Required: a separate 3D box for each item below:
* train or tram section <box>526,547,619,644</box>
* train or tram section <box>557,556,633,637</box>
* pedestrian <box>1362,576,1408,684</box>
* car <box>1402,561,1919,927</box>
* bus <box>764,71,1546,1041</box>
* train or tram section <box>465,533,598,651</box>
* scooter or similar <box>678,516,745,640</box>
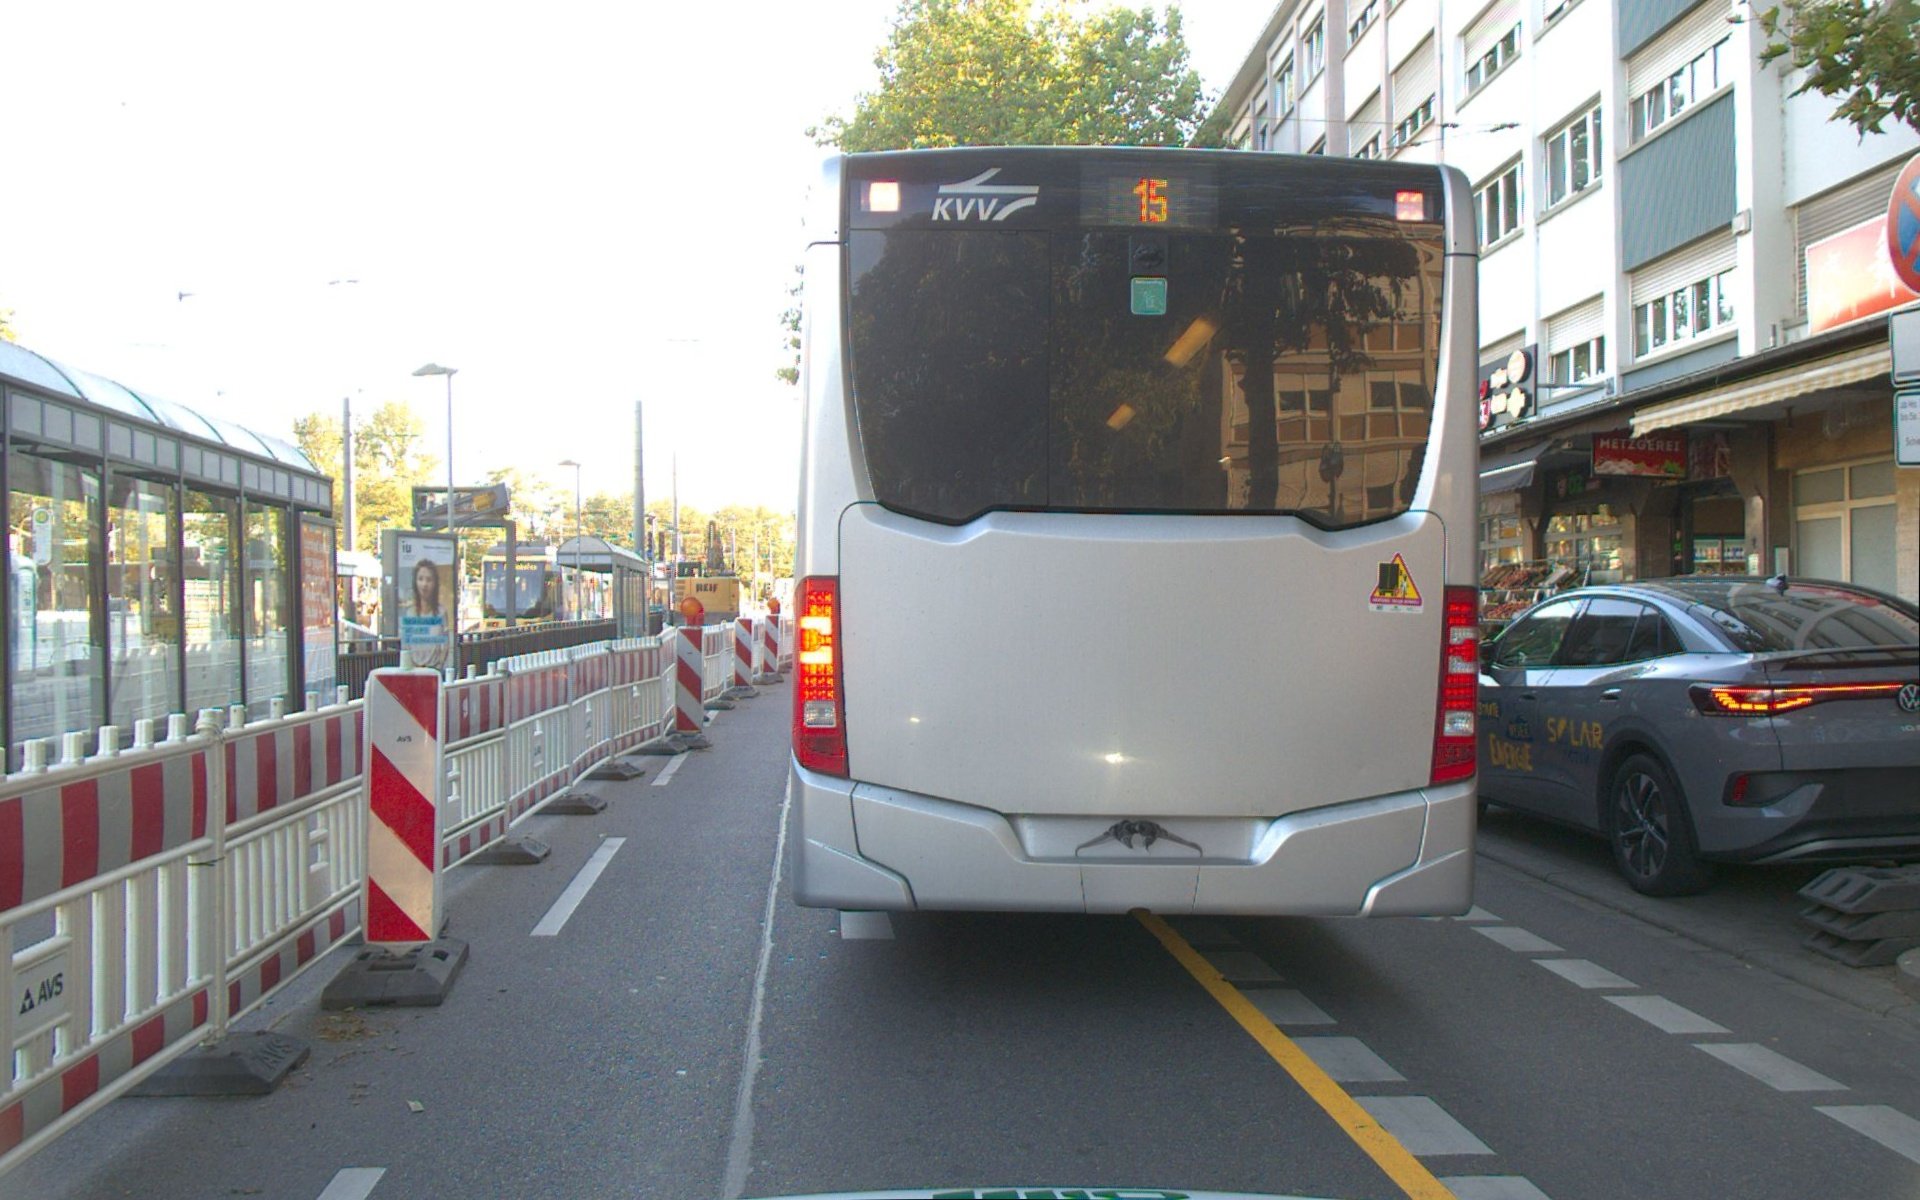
[{"bbox_3d":[-15.899,-0.146,68.621,2.636,3.621,11.560,1,0,-8],"label":"train or tram section"},{"bbox_3d":[-17.527,-0.142,80.064,2.636,3.594,11.560,1,0,-8],"label":"train or tram section"},{"bbox_3d":[6.791,0.474,26.419,0.649,1.696,0.601,-2,-1,15],"label":"pedestrian"},{"bbox_3d":[4.378,0.630,9.816,1.955,1.609,4.363,-3,1,-5],"label":"car"},{"bbox_3d":[0.608,-0.131,9.515,2.558,3.181,7.991,1,0,-1],"label":"bus"},{"bbox_3d":[-14.509,-0.220,56.887,2.635,3.595,11.756,1,0,-6],"label":"train or tram section"},{"bbox_3d":[-9.600,-0.814,64.228,2.422,4.549,5.962,0,0,-8],"label":"scooter or similar"}]
